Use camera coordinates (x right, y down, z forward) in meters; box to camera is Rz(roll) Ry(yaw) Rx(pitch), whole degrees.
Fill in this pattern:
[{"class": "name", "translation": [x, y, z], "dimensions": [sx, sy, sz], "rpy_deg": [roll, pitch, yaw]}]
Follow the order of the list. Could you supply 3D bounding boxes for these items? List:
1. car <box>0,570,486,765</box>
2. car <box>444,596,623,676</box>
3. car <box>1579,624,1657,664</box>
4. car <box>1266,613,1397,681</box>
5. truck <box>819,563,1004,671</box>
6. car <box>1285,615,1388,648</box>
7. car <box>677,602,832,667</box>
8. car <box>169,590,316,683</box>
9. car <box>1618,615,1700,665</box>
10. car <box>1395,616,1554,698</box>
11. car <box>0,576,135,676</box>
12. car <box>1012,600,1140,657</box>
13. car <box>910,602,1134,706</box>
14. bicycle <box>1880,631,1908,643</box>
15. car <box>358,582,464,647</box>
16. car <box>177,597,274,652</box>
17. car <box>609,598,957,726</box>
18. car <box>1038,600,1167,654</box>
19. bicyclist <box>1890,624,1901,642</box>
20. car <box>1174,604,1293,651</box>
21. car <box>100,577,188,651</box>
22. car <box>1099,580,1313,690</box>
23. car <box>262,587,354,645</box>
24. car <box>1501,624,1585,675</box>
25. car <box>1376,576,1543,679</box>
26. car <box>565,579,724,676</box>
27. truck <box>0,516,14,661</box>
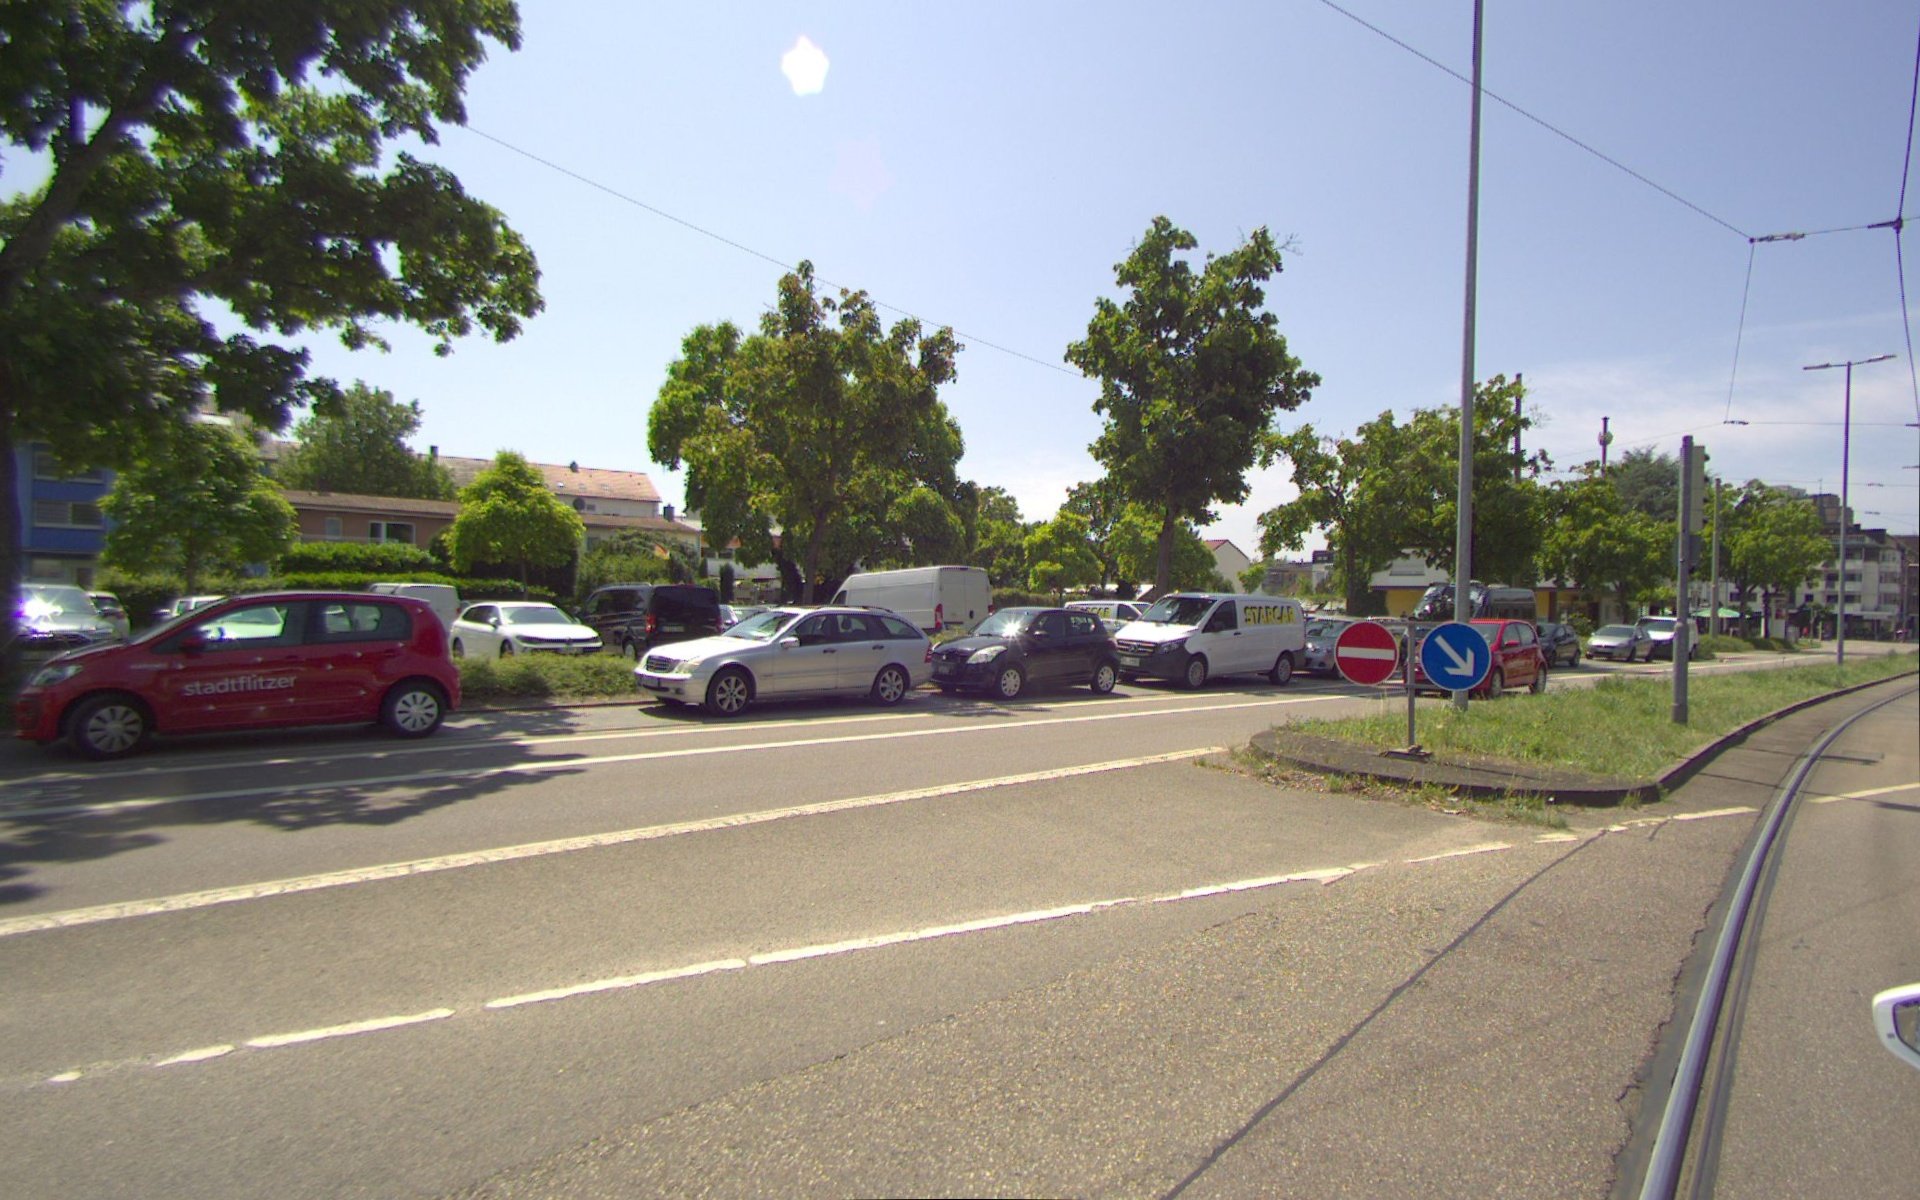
[{"class": "car", "translation": [-6.936, 0.584, 9.995], "dimensions": [3.697, 1.567, 1.657], "rpy_deg": [2, 1, -40]}, {"class": "car", "translation": [-9.260, 0.696, 21.607], "dimensions": [2.044, 1.508, 4.715], "rpy_deg": [1, 0, -43]}, {"class": "car", "translation": [27.072, 1.789, 41.312], "dimensions": [3.835, 1.439, 1.617], "rpy_deg": [2, 2, -40]}, {"class": "car", "translation": [9.362, 1.142, 25.183], "dimensions": [3.811, 1.459, 1.392], "rpy_deg": [1, 3, -43]}, {"class": "truck", "translation": [-1.521, 0.444, 28.880], "dimensions": [2.413, 2.796, 5.529], "rpy_deg": [1, 0, -41]}, {"class": "car", "translation": [17.687, 1.455, 47.299], "dimensions": [1.844, 1.430, 4.167], "rpy_deg": [1, 0, -44]}, {"class": "car", "translation": [-5.162, 0.807, 24.900], "dimensions": [1.844, 1.430, 4.169], "rpy_deg": [1, 0, -43]}, {"class": "car", "translation": [-13.373, 0.603, 18.617], "dimensions": [1.916, 1.528, 4.088], "rpy_deg": [1, 0, -40]}, {"class": "car", "translation": [31.851, 1.793, 45.699], "dimensions": [5.127, 1.992, 1.858], "rpy_deg": [1, 3, -43]}, {"class": "car", "translation": [9.992, 1.049, 19.408], "dimensions": [3.580, 1.428, 1.642], "rpy_deg": [2, -2, -43]}, {"class": "car", "translation": [-14.797, 0.358, 16.034], "dimensions": [4.152, 1.422, 2.069], "rpy_deg": [1, 0, 44]}, {"class": "car", "translation": [3.935, 0.933, 34.623], "dimensions": [1.844, 1.789, 4.169], "rpy_deg": [1, 0, -43]}, {"class": "car", "translation": [1.136, 0.886, 17.424], "dimensions": [3.754, 1.504, 1.600], "rpy_deg": [2, 3, -41]}, {"class": "bicycle", "translation": [116.159, 4.607, 124.984], "dimensions": [2.476, 1.438, 0.635], "rpy_deg": [1, 0, 35]}, {"class": "car", "translation": [-17.112, 0.426, 31.213], "dimensions": [1.957, 1.845, 4.088], "rpy_deg": [2, 0, -43]}, {"class": "car", "translation": [-20.994, 0.659, 28.652], "dimensions": [1.804, 1.351, 4.089], "rpy_deg": [1, 1, -42]}, {"class": "car", "translation": [-2.359, 0.793, 14.380], "dimensions": [4.739, 1.446, 1.702], "rpy_deg": [1, 3, -44]}, {"class": "car", "translation": [5.205, 0.956, 37.174], "dimensions": [1.784, 1.837, 4.673], "rpy_deg": [1, 0, -43]}, {"class": "bicyclist", "translation": [116.315, 4.098, 124.899], "dimensions": [0.943, 2.119, 0.850], "rpy_deg": [1, 0, 35]}, {"class": "car", "translation": [11.596, 1.133, 42.816], "dimensions": [1.783, 1.837, 4.675], "rpy_deg": [1, 0, -42]}, {"class": "car", "translation": [-22.348, 0.346, 27.457], "dimensions": [1.635, 1.845, 4.088], "rpy_deg": [1, 1, -43]}, {"class": "car", "translation": [5.280, 0.706, 21.190], "dimensions": [4.767, 1.963, 1.846], "rpy_deg": [2, 3, -41]}, {"class": "car", "translation": [-19.632, 0.445, 30.169], "dimensions": [1.720, 1.597, 3.711], "rpy_deg": [1, 1, -43]}, {"class": "car", "translation": [20.142, 1.662, 34.632], "dimensions": [3.995, 1.543, 1.300], "rpy_deg": [1, 3, -43]}, {"class": "car", "translation": [15.297, 0.805, 30.586], "dimensions": [6.128, 2.692, 2.376], "rpy_deg": [1, 3, -43]}, {"class": "car", "translation": [-7.320, 0.573, 23.068], "dimensions": [1.844, 2.021, 4.169], "rpy_deg": [1, -1, -43]}, {"class": "truck", "translation": [-24.701, -0.358, 24.649], "dimensions": [2.136, 3.271, 6.909], "rpy_deg": [1, 1, -43]}]
